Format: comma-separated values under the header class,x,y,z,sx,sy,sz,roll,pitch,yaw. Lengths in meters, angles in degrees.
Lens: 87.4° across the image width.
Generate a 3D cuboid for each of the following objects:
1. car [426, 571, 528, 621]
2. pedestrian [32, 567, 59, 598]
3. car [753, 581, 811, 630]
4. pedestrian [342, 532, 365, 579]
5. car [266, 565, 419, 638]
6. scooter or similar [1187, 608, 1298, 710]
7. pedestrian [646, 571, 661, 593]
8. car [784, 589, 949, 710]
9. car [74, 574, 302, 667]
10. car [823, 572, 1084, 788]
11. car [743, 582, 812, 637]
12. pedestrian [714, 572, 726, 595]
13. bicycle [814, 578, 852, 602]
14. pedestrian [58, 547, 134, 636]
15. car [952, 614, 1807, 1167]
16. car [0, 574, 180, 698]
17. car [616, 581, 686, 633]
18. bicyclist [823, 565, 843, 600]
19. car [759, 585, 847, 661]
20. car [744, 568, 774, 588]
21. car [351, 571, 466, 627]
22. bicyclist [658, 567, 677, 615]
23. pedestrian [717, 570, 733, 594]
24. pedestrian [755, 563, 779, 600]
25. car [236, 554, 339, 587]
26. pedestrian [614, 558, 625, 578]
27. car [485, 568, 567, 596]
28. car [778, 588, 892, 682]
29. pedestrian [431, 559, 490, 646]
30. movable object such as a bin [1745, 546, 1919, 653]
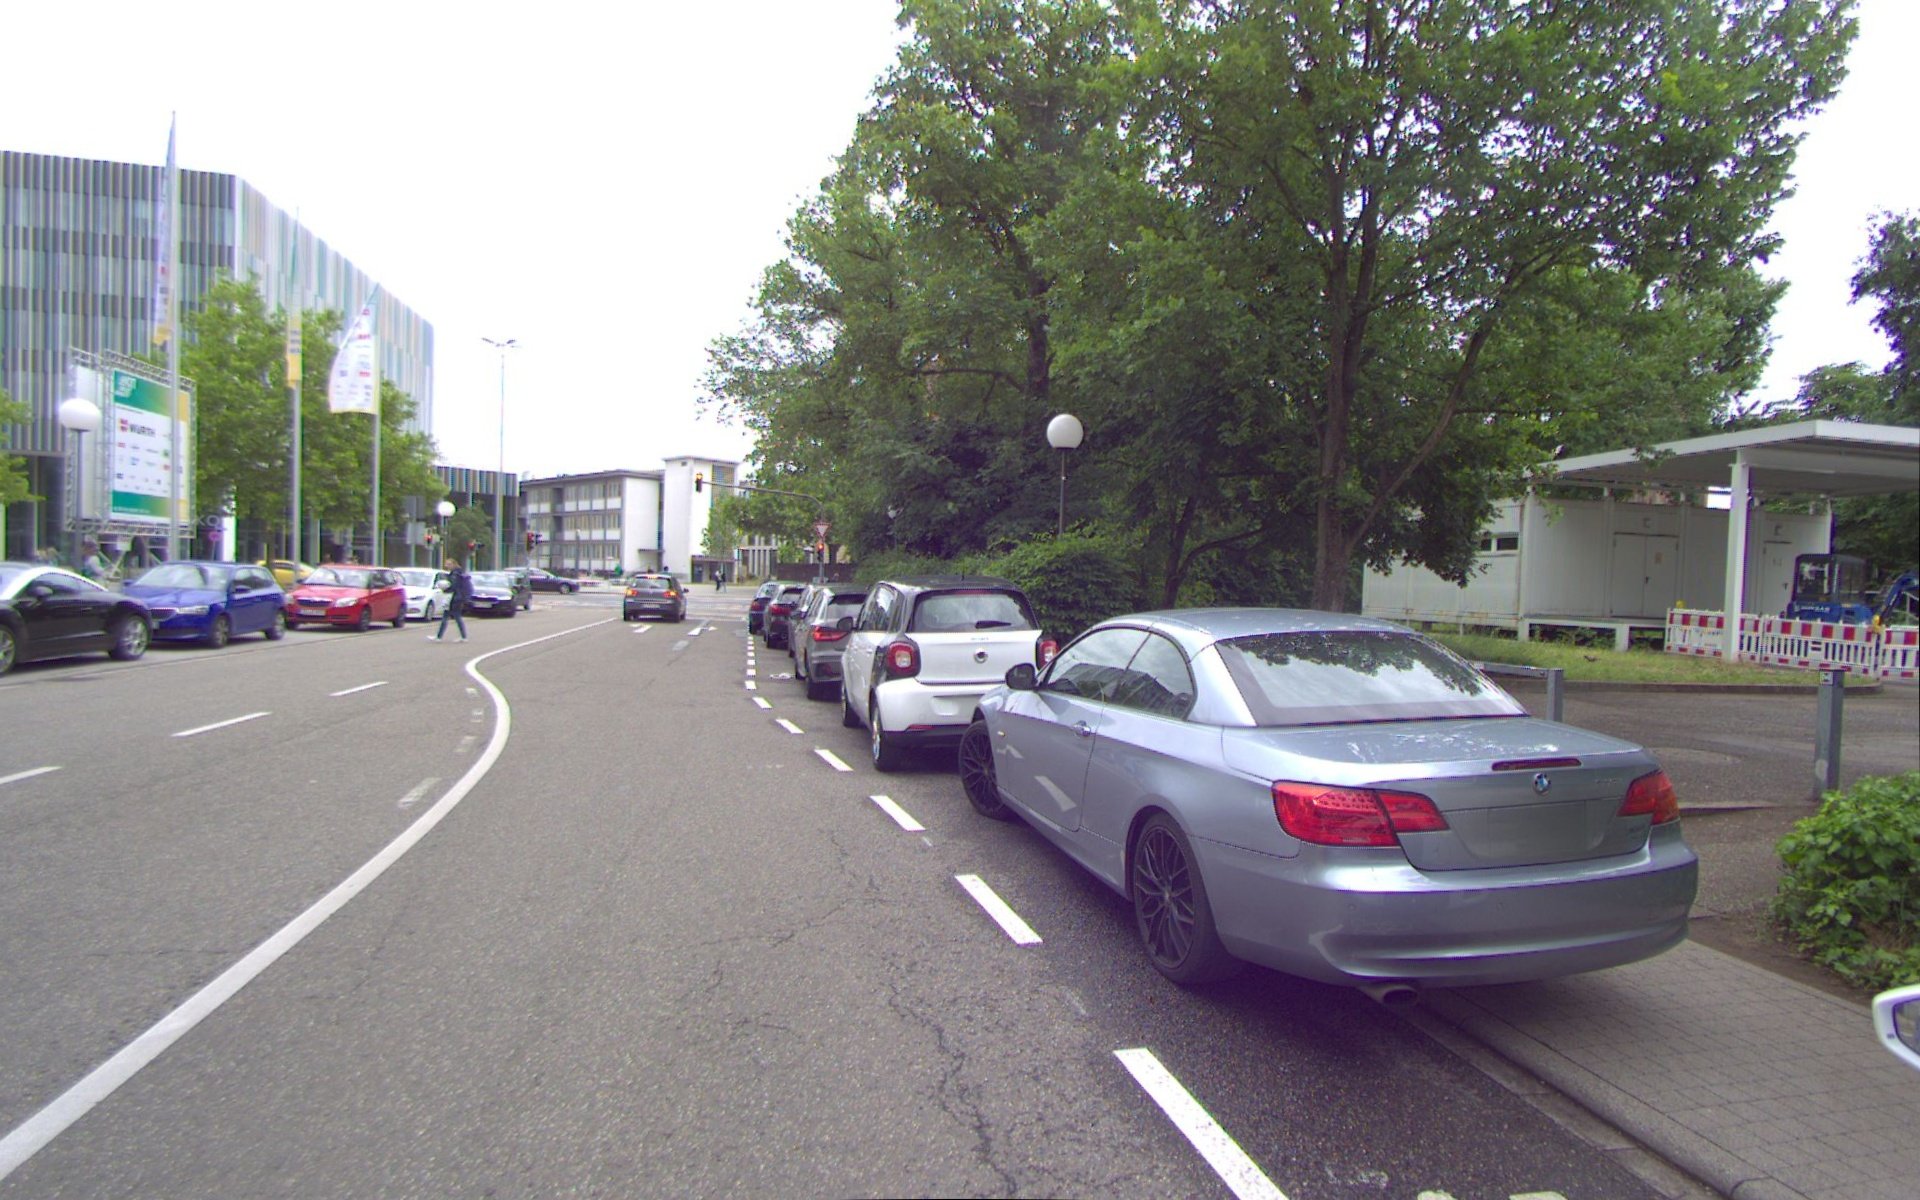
class,x,y,z,sx,sy,sz,roll,pitch,yaw
car,-16.274,-0.150,33.723,1.853,1.420,4.422,2,1,-42
pedestrian,-60.555,-1.169,66.522,0.982,2.040,0.855,0,-1,-4
car,-6.016,0.129,34.024,1.771,1.489,4.240,1,1,-10
pedestrian,-22.816,-1.663,37.791,0.653,1.738,0.578,0,1,-45
car,-14.467,0.019,23.811,1.688,1.493,4.263,3,0,-12
scooter or similar,3.612,0.727,12.860,1.283,1.226,0.450,1,1,29
pedestrian,-23.815,-1.407,78.116,0.795,1.687,0.789,-1,0,33
car,-1.451,0.584,14.025,1.739,1.431,3.997,1,0,-13
car,-13.633,0.283,18.073,1.672,1.430,4.362,2,1,-15
car,-0.280,0.588,9.546,1.692,1.607,3.868,0,0,-13
car,-5.195,0.223,29.020,1.770,1.427,4.330,2,1,-8
pedestrian,-17.886,-1.219,74.793,0.613,1.689,0.617,1,1,32
bicycle,-6.137,-0.495,48.484,1.770,1.108,0.874,1,1,-14
pedestrian,-16.641,-0.159,19.376,0.723,1.663,0.930,1,1,-9
car,1.333,0.841,5.029,1.793,1.407,4.181,0,1,-14
car,-12.448,0.423,13.045,1.821,1.461,4.410,1,-1,-11
car,-9.977,0.181,32.668,1.758,1.517,4.158,1,1,-12
bicyclist,-6.125,-0.822,48.485,0.853,1.663,0.874,1,1,-13
car,-3.781,0.474,23.609,1.772,1.582,4.519,1,0,-12
car,-22.811,-2.464,114.052,1.961,1.601,4.408,-7,-6,6
car,-15.714,-0.054,28.847,1.834,1.472,3.849,1,1,-12
bicyclist,-11.359,-0.359,39.019,0.649,1.803,0.979,1,1,-19
pedestrian,-17.711,-1.343,75.698,0.880,1.812,0.843,2,2,35
pedestrian,-8.734,-0.845,45.440,1.026,1.641,0.656,1,2,-12
car,-36.024,-1.558,53.899,4.119,1.640,1.996,1,1,-11
pedestrian,-30.644,-2.866,90.406,0.893,1.737,0.945,1,2,-24
car,-24.832,-1.017,57.605,4.228,1.509,1.990,0,2,-21
car,-2.407,0.564,18.544,1.737,1.491,3.815,1,1,-12
pedestrian,-10.070,0.049,20.285,0.727,1.684,0.967,2,0,-7
movable object such as a bin,20.527,0.032,22.708,4.593,2.200,1.993,2,1,-16
